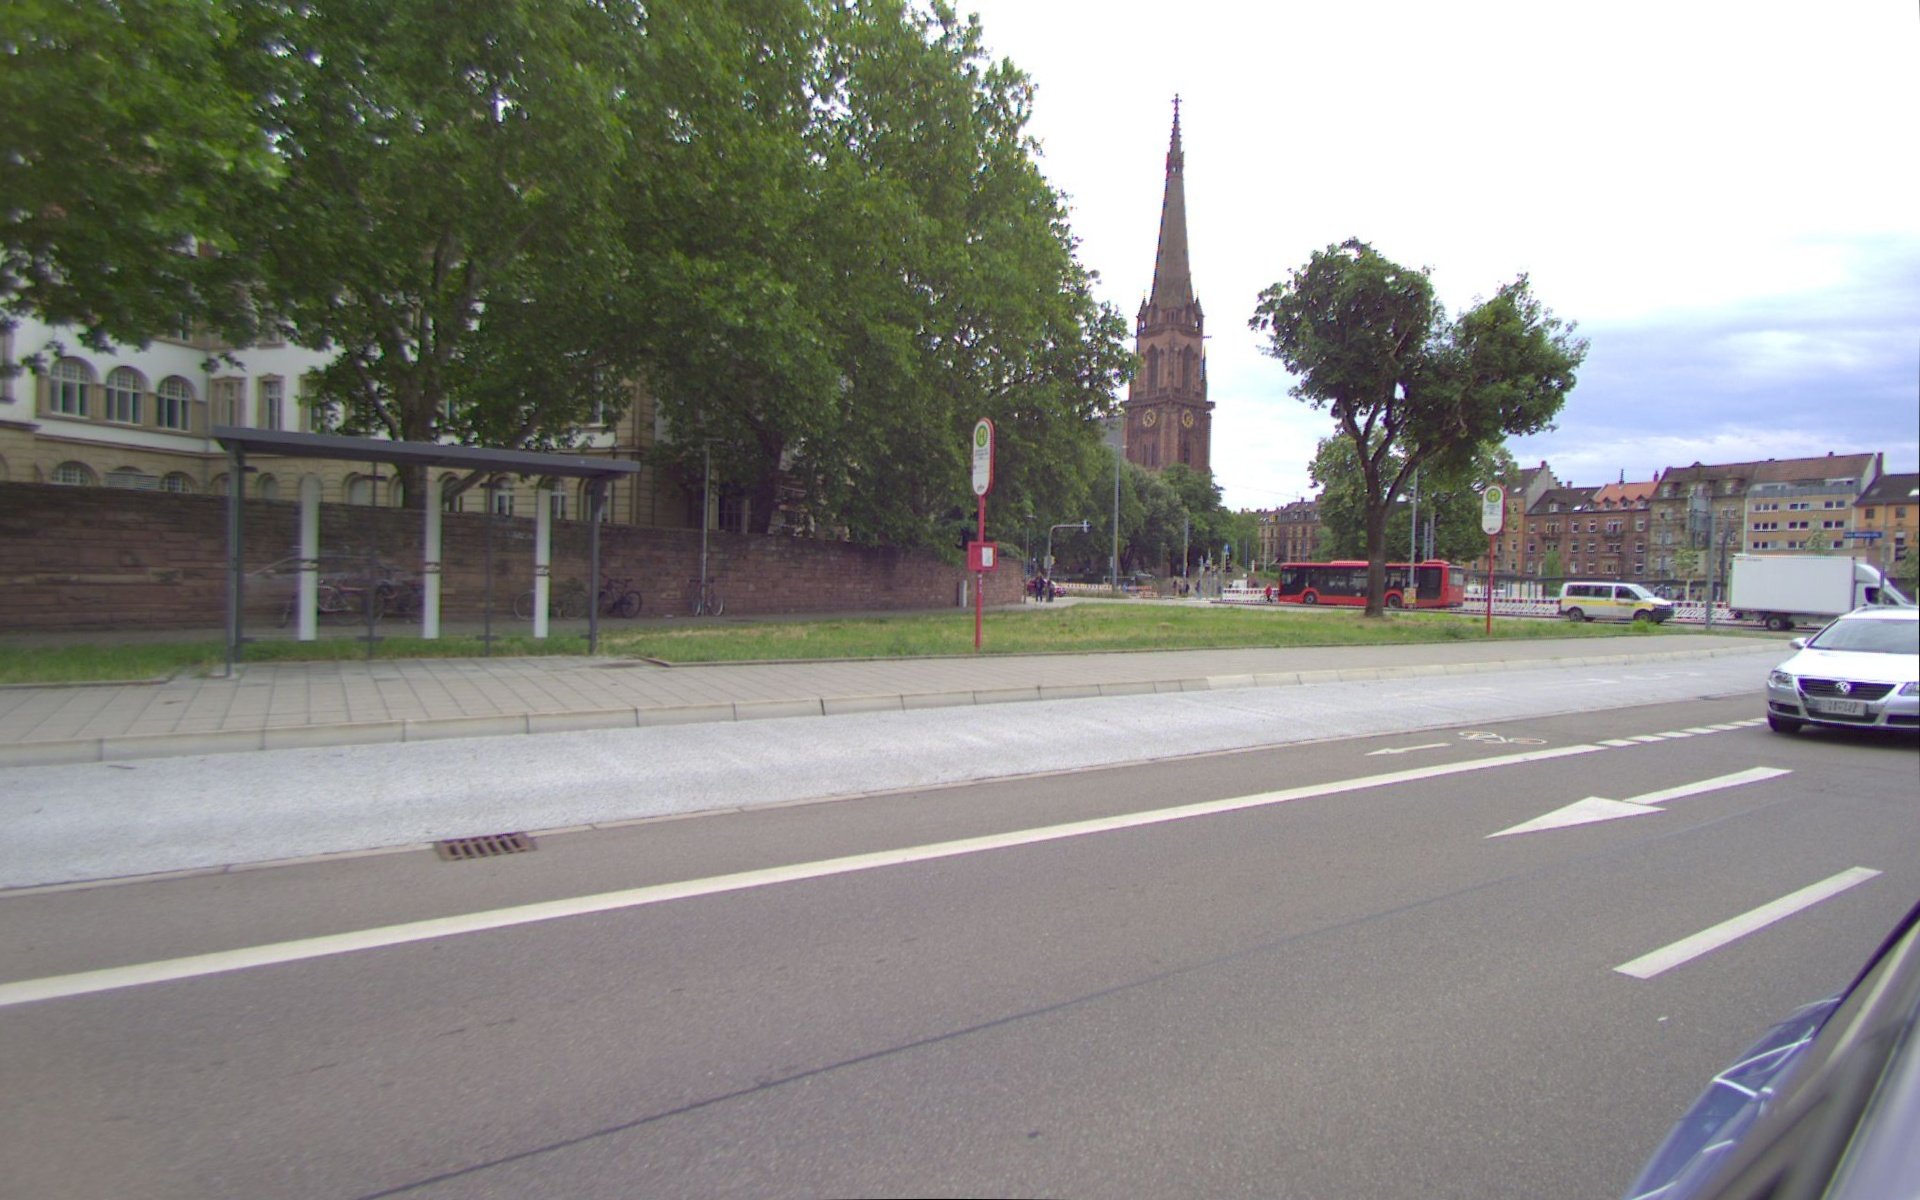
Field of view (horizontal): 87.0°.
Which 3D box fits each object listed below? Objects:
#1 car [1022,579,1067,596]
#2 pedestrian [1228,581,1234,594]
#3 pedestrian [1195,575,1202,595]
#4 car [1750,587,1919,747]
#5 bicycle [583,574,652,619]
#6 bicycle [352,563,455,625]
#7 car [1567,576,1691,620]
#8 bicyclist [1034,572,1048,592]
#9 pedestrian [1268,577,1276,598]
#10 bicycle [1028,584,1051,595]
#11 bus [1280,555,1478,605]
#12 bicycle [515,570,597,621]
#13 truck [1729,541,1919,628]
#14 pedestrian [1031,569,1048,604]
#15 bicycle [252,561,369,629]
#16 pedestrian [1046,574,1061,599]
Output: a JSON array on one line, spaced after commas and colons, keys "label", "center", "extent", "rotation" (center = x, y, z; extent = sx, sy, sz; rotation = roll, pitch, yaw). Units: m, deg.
[{"label": "car", "center": [6.945, -1.030, 83.072], "extent": [3.527, 1.170, 1.424], "rotation": [5, 4, 44]}, {"label": "pedestrian", "center": [25.792, -1.154, 96.258], "extent": [0.365, 1.210, 0.374], "rotation": [1, 2, -35]}, {"label": "pedestrian", "center": [20.985, -1.349, 88.927], "extent": [0.365, 1.726, 0.374], "rotation": [1, 2, -35]}, {"label": "car", "center": [11.302, 0.655, 11.834], "extent": [4.438, 1.570, 1.832], "rotation": [-1, 1, -32]}, {"label": "bicycle", "center": [-8.170, -0.093, 24.178], "extent": [0.546, 1.004, 1.622], "rotation": [4, 3, 27]}, {"label": "bicycle", "center": [-10.901, -0.135, 19.871], "extent": [0.591, 1.143, 1.695], "rotation": [4, 3, 30]}, {"label": "car", "center": [32.639, -0.156, 49.529], "extent": [1.885, 1.942, 4.713], "rotation": [-3, 4, -37]}, {"label": "bicyclist", "center": [6.399, -1.423, 79.991], "extent": [0.779, 1.540, 0.593], "rotation": [4, 3, 41]}, {"label": "pedestrian", "center": [22.959, -0.918, 74.447], "extent": [0.366, 1.484, 0.372], "rotation": [1, 2, -35]}, {"label": "bicycle", "center": [6.276, -0.830, 80.096], "extent": [1.814, 0.830, 0.593], "rotation": [5, 3, 42]}, {"label": "bus", "center": [26.877, -1.376, 65.824], "extent": [2.883, 2.944, 12.093], "rotation": [1, 1, -37]}, {"label": "bicycle", "center": [-9.038, -0.115, 22.706], "extent": [0.591, 1.072, 1.695], "rotation": [4, 3, 30]}, {"label": "truck", "center": [37.456, -0.716, 43.266], "extent": [2.515, 3.453, 6.850], "rotation": [-1, 2, -38]}, {"label": "pedestrian", "center": [4.140, -0.715, 52.611], "extent": [0.745, 1.756, 0.822], "rotation": [3, 2, 7]}, {"label": "bicycle", "center": [-11.766, -0.106, 18.390], "extent": [0.591, 1.150, 1.695], "rotation": [4, 3, 30]}, {"label": "pedestrian", "center": [6.288, -0.923, 68.221], "extent": [0.678, 1.659, 0.875], "rotation": [2, 1, -20]}]
